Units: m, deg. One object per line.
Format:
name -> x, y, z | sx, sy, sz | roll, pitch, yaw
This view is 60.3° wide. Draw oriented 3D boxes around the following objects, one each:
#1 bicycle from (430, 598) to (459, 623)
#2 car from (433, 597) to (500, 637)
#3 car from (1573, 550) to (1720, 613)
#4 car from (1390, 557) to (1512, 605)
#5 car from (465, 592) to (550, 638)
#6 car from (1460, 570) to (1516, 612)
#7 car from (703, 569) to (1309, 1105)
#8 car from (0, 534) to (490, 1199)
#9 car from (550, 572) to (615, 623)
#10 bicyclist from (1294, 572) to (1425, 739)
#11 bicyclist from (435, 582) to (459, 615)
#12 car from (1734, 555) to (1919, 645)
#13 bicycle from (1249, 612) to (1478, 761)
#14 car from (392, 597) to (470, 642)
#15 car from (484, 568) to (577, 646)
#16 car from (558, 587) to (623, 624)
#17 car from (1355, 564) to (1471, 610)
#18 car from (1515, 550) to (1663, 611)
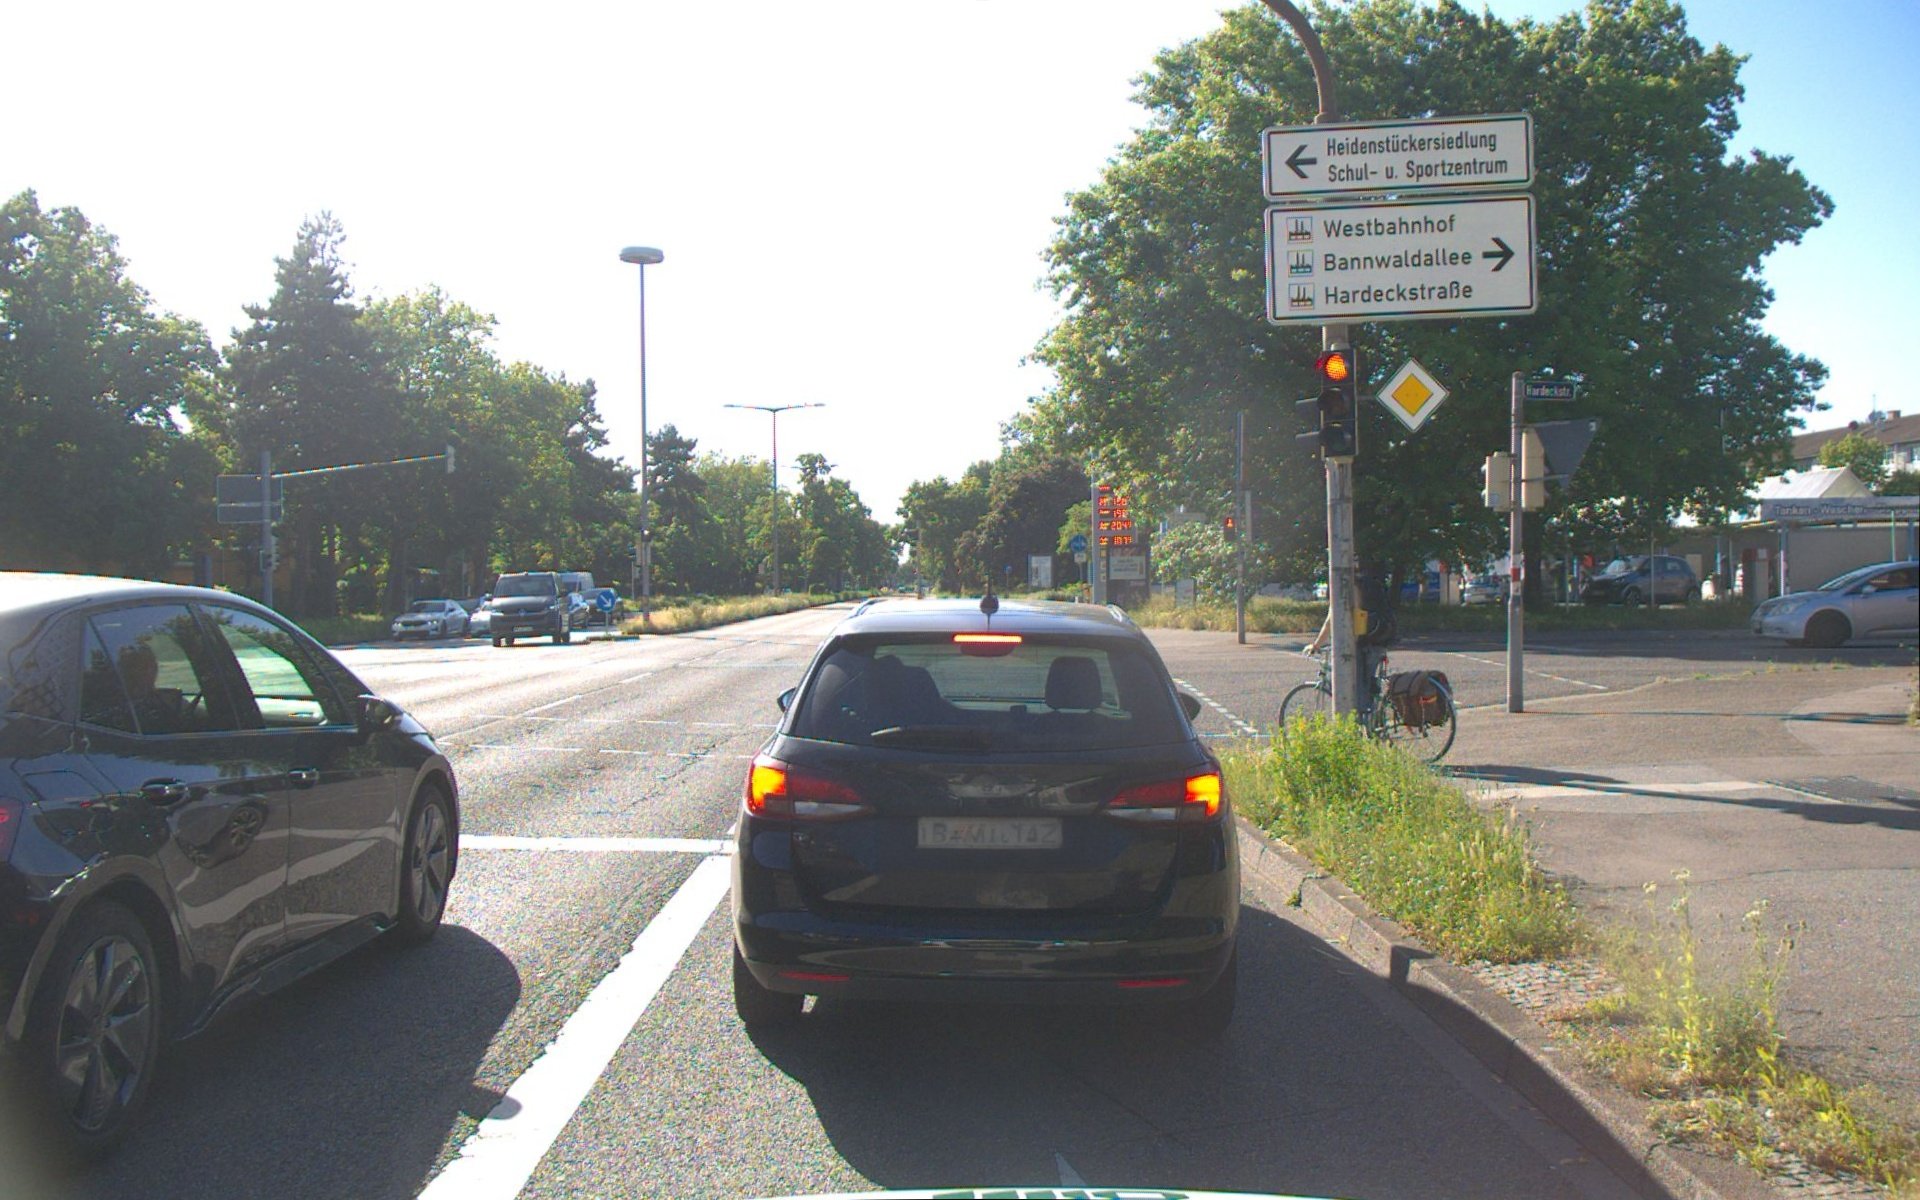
bicycle -> -26.432, 0.548, 84.849 | 0.858, 1.233, 2.534 | -2, 0, -4
car -> -20.221, 0.687, 67.859 | 1.652, 1.535, 4.002 | -1, 0, -2
car -> 19.992, -0.537, 48.190 | 3.934, 1.709, 1.732 | -2, 0, -24
car -> 16.912, -0.655, 56.978 | 3.837, 1.544, 1.732 | -2, 0, -24
car -> -16.398, 0.516, 60.136 | 1.850, 1.551, 4.503 | -1, 0, -1
car -> 22.726, -0.390, 71.166 | 1.705, 1.709, 3.996 | -1, 0, 26
car -> 0.106, 0.682, 6.830 | 1.721, 1.521, 4.206 | 0, 0, -1
car -> -2.995, 0.656, 5.598 | 1.650, 1.608, 4.206 | 0, 0, -1
car -> -19.689, -0.132, 86.559 | 2.057, 2.536, 6.003 | -1, 0, -1
bicyclist -> 3.222, 0.447, 13.366 | 0.534, 1.299, 0.816 | -2, -2, -44
bicyclist -> -26.299, -0.074, 84.776 | 0.858, 1.677, 1.198 | -2, 0, -5
car -> 16.529, -0.027, 29.112 | 4.897, 1.512, 2.002 | -1, 0, 11
bicycle -> 3.230, 0.698, 13.364 | 0.533, 1.117, 1.748 | -2, -2, -44
car -> -19.603, 0.701, 61.455 | 1.652, 1.535, 4.003 | -1, 0, -1
car -> -12.009, 0.165, 46.516 | 1.875, 2.027, 5.007 | -1, 0, -7
car -> -16.746, 0.224, 75.233 | 1.953, 1.629, 4.615 | -1, 0, -1
car -> 16.435, -0.467, 60.054 | 3.837, 1.544, 1.732 | -2, 0, -24
car -> 19.023, -0.596, 50.033 | 3.935, 1.780, 1.985 | -1, 0, -24
